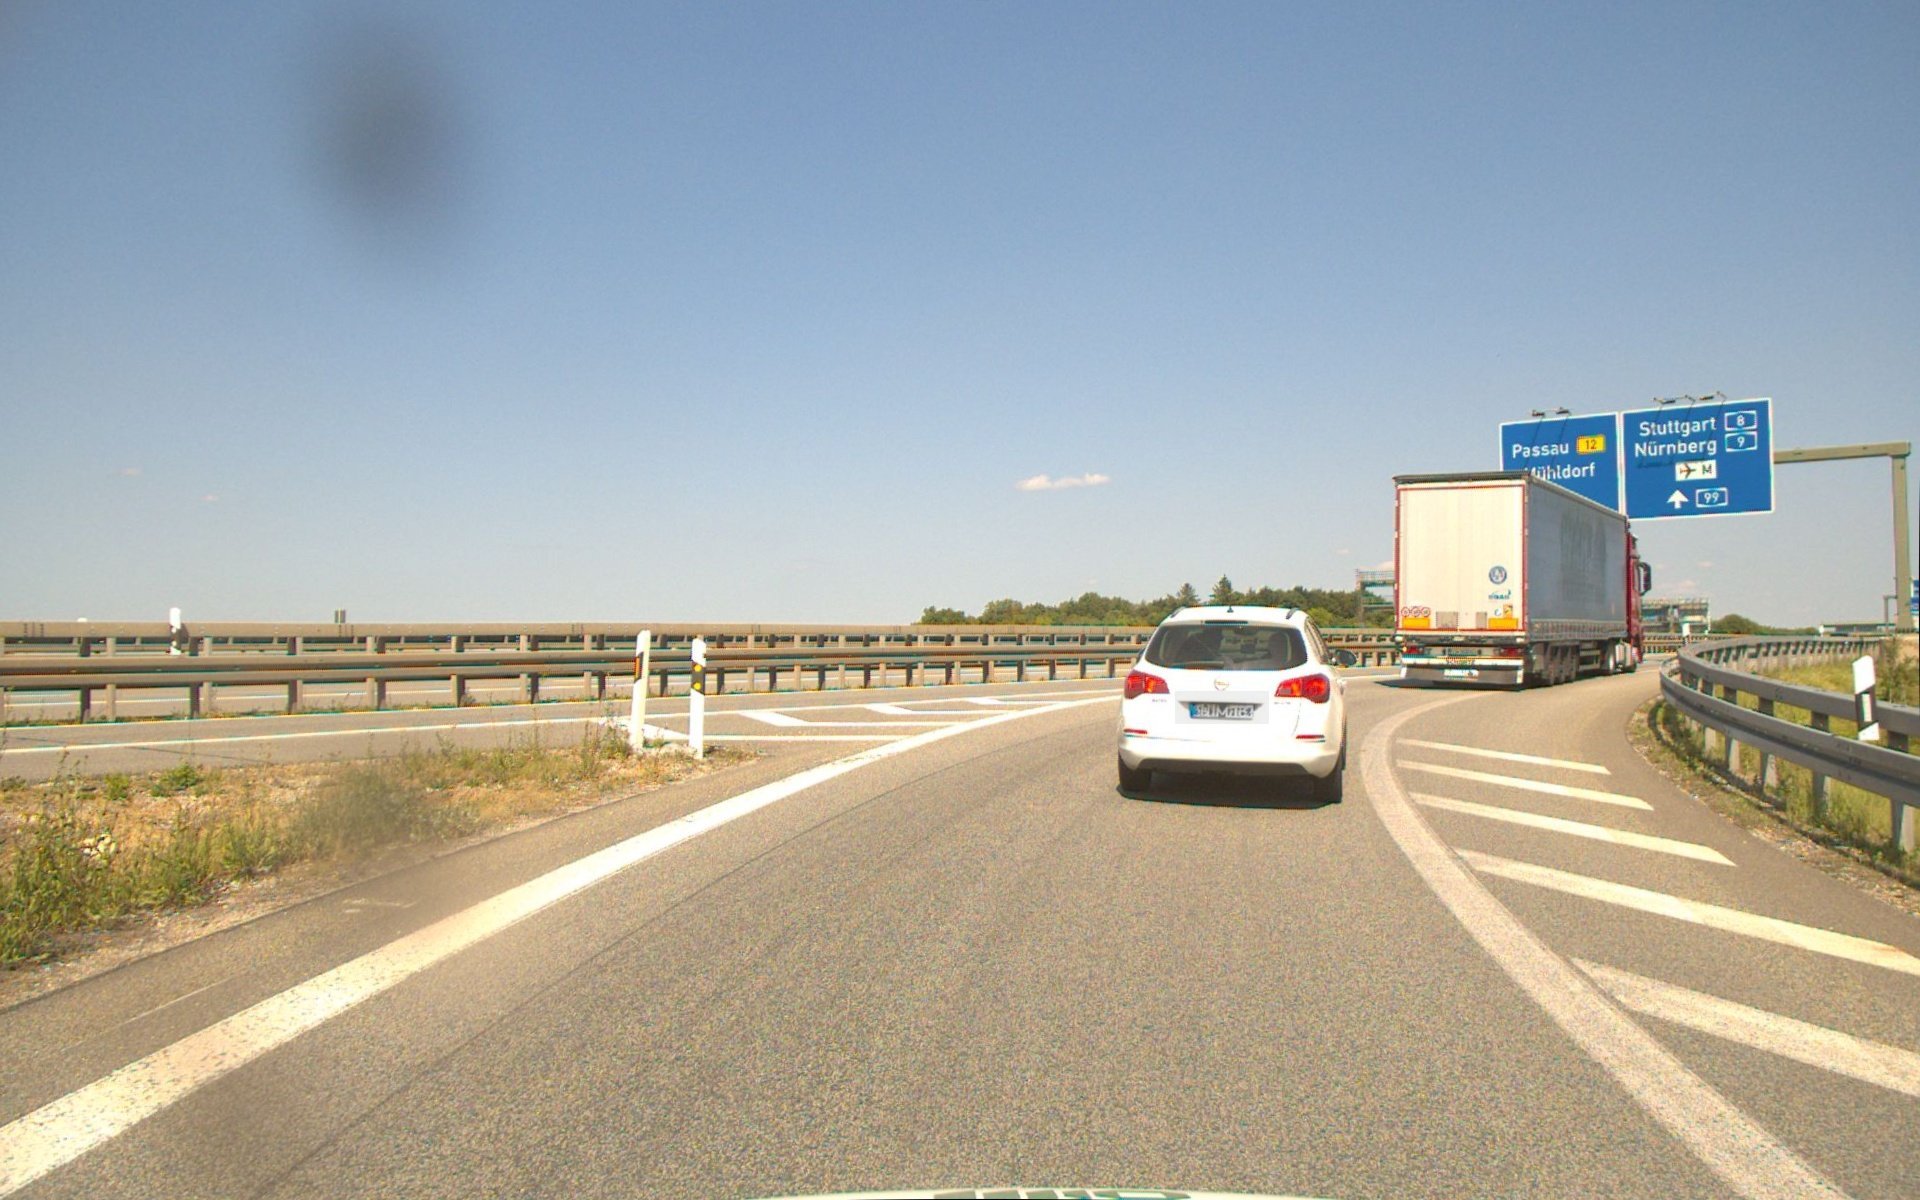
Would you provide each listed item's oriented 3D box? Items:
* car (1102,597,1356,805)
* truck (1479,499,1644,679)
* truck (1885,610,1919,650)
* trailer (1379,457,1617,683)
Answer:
[{"bbox_3d":[2.437,0.745,14.215,1.815,1.468,4.375,1,0,13],"label":"car"},{"bbox_3d":[15.565,-0.121,42.465,2.858,4.218,6.912,0,-2,30],"label":"truck"},{"bbox_3d":[106.216,3.452,185.409,3.477,4.218,11.222,2,-1,33],"label":"truck"},{"bbox_3d":[12.133,-0.352,36.377,2.857,4.218,11.236,0,-2,29],"label":"trailer"}]
